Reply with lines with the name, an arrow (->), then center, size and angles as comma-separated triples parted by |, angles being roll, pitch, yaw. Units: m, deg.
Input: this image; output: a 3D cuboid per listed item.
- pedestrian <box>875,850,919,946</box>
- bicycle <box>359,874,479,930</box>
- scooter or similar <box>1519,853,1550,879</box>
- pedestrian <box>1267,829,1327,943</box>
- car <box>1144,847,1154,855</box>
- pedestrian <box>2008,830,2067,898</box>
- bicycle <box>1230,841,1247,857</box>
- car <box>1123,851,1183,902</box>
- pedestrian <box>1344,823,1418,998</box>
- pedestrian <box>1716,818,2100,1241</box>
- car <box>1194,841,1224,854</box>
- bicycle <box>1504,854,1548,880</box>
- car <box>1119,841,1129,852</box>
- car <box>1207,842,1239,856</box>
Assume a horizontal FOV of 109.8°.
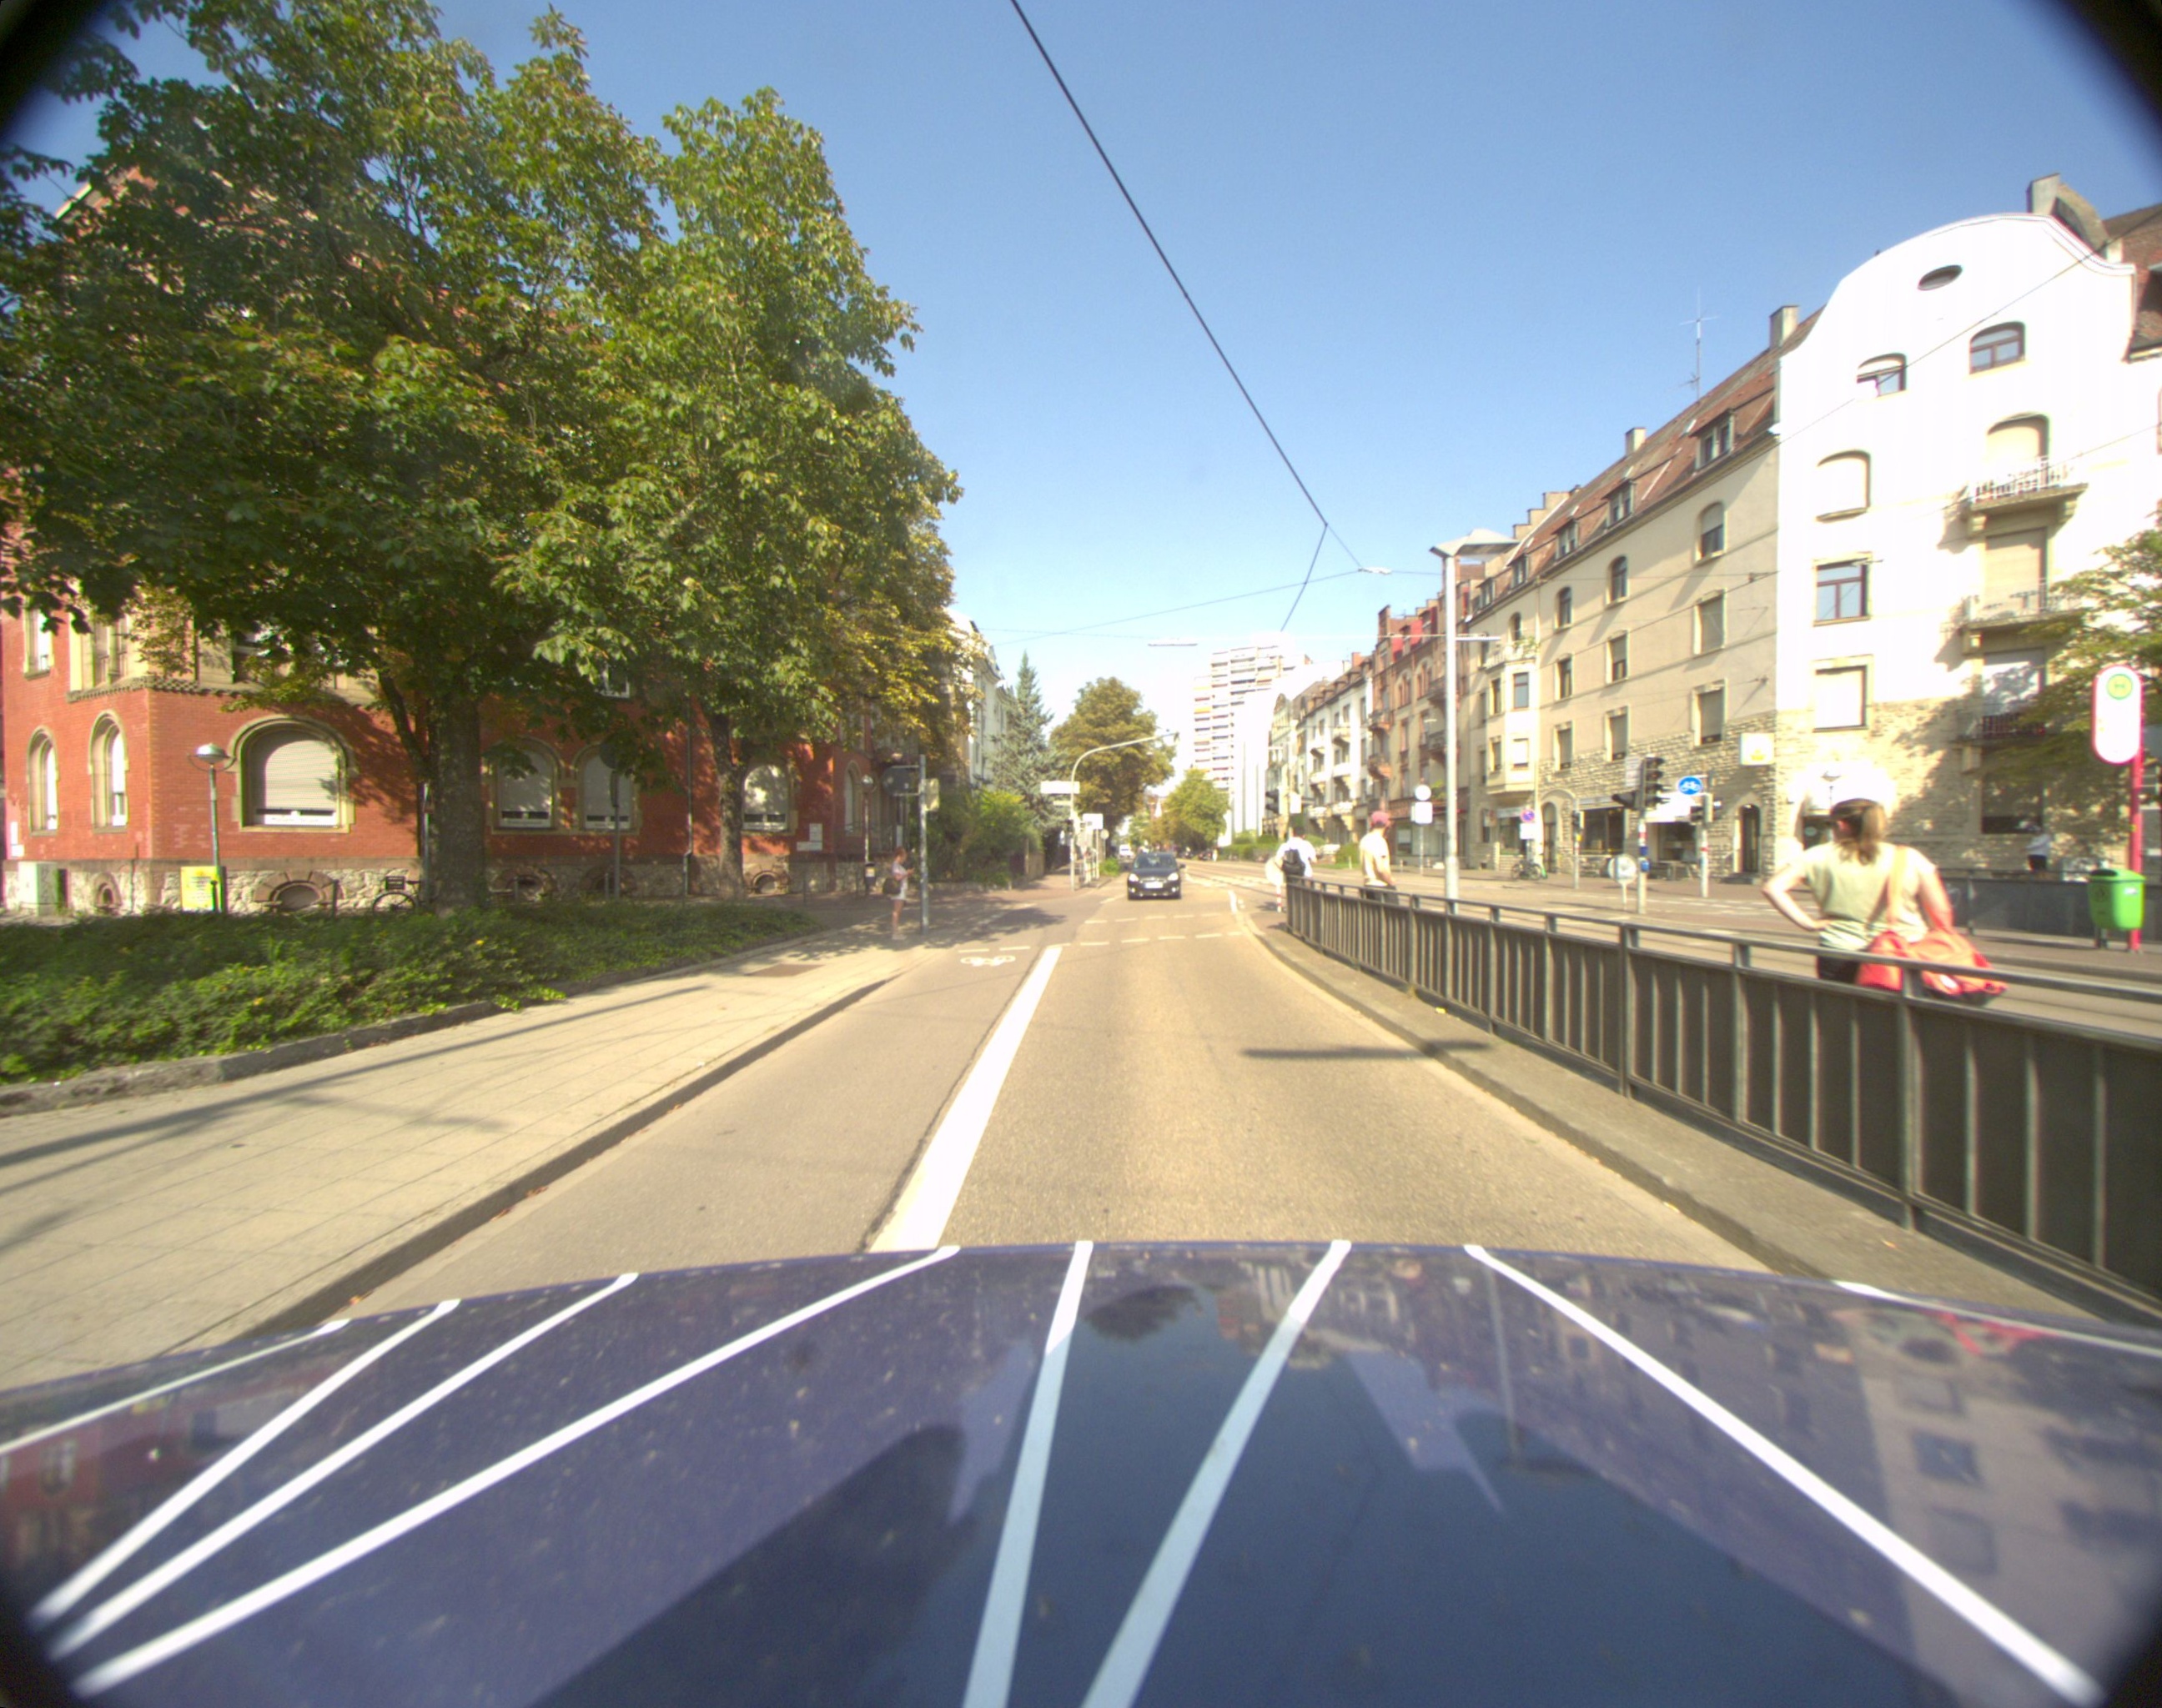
pedestrian -> -3.393, 0.791, 14.041 | 0.543, 1.708, 0.662 | 0, 1, 14
bicycle -> -14.135, 1.005, 16.271 | 0.607, 1.052, 1.843 | -3, 0, 43
scooter or similar -> 20.267, 0.520, 33.982 | 0.443, 1.151, 1.092 | -1, 1, -35
pedestrian -> 3.487, 0.517, 12.335 | 0.730, 1.759, 0.739 | -2, -1, 5
car -> 15.102, -0.730, 168.151 | 1.997, 1.640, 4.001 | 0, 1, 6
pedestrian -> 26.490, 0.268, 21.051 | 0.735, 1.857, 0.673 | 0, 1, -2
bicycle -> 19.203, -0.664, 92.889 | 1.015, 1.848, 3.553 | -2, 1, -4
car -> 2.385, 0.668, 24.688 | 1.774, 1.459, 4.001 | -1, 1, 7
pedestrian -> 3.191, 0.577, 8.124 | 0.560, 1.792, 0.676 | 0, 1, 5
pedestrian -> 3.660, 0.675, 3.443 | 0.815, 1.645, 0.866 | -1, 1, -12
car -> 19.475, -1.031, 115.446 | 4.005, 2.002, 1.996 | -1, 1, -25
bicycle -> 19.635, 0.569, 33.535 | 0.546, 1.097, 1.894 | -1, 1, -12
car -> 8.955, -1.553, 158.195 | 2.087, 2.264, 4.827 | 0, 1, 3
car -> 19.999, -0.693, 107.235 | 4.005, 2.002, 1.996 | -1, 1, -25
